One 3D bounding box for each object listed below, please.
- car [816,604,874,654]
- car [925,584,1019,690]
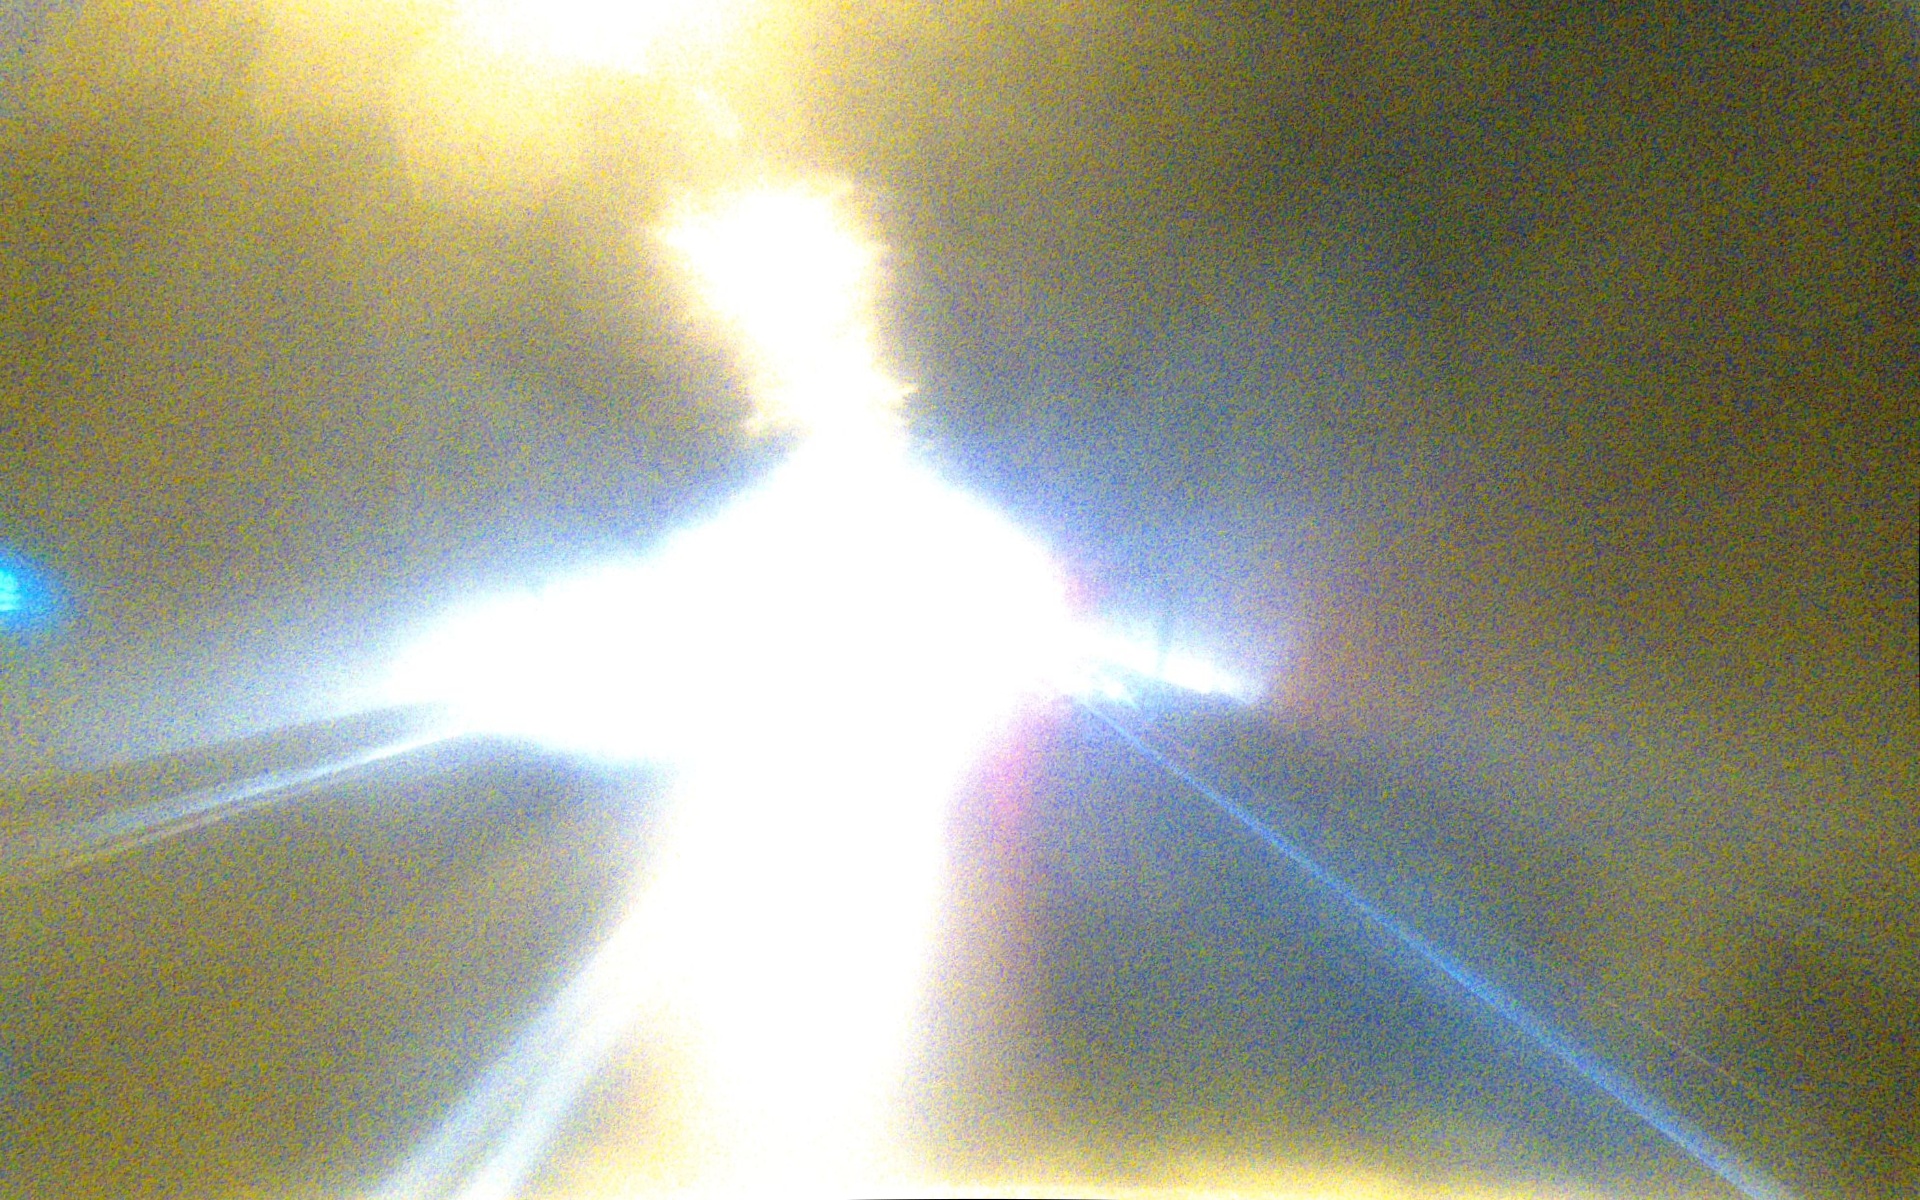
[{"bbox_3d":[-3.832,0.947,55.610,1.601,1.561,3.647,-1,1,2],"label":"car"},{"bbox_3d":[0.193,0.618,30.349,1.602,1.788,4.145,-1,1,0],"label":"car"}]
